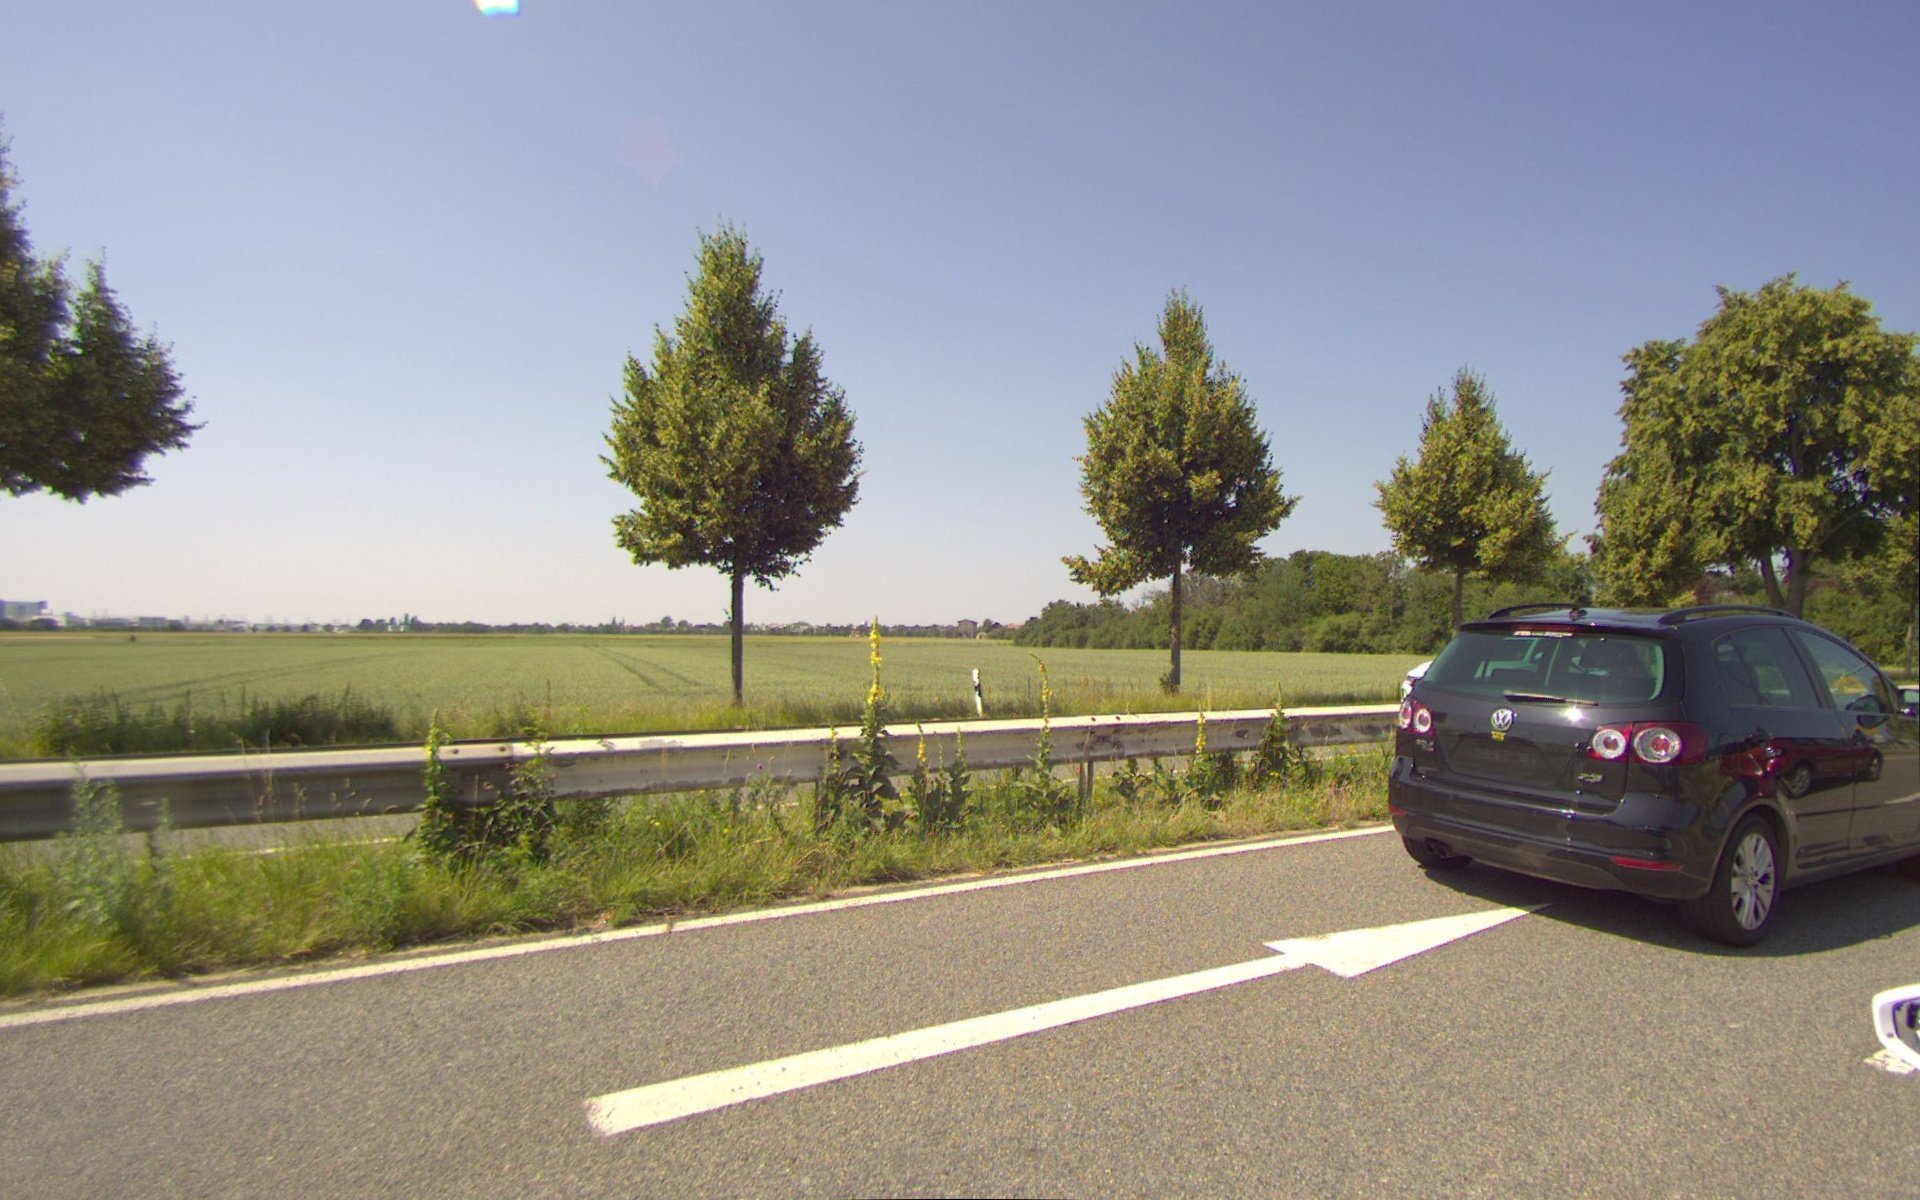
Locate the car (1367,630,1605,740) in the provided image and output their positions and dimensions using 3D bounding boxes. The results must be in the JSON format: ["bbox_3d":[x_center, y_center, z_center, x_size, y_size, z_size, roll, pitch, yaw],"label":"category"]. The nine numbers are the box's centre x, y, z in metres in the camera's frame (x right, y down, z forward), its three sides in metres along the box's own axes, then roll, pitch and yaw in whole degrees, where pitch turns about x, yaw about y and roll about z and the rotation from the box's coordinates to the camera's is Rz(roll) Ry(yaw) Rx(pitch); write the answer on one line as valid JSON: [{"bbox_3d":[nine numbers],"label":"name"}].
[{"bbox_3d":[8.841,1.335,16.802,4.091,1.639,1.736,2,-2,-33],"label":"car"}]

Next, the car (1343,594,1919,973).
[{"bbox_3d":[4.281,0.814,5.943,3.845,1.596,1.715,1,0,-29],"label":"car"}]
